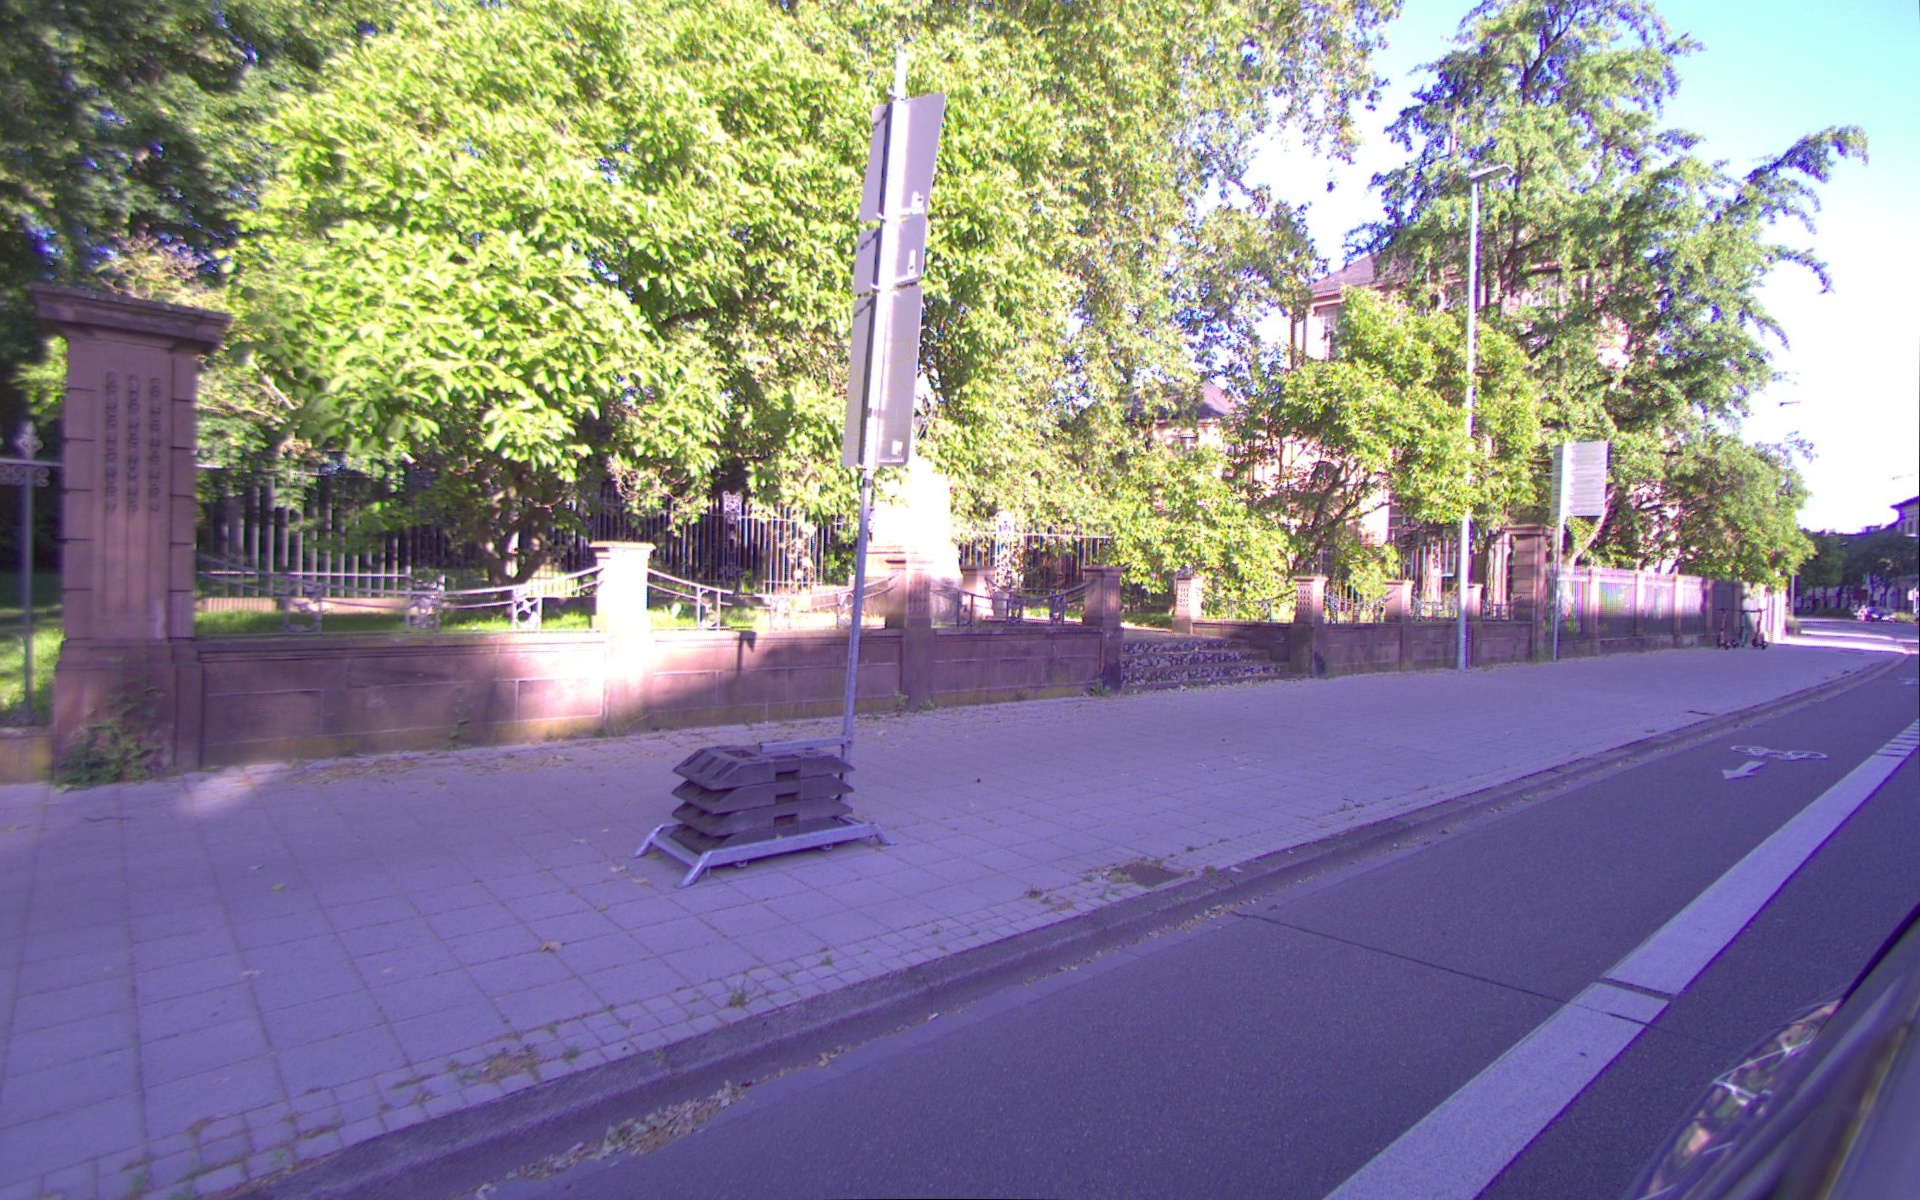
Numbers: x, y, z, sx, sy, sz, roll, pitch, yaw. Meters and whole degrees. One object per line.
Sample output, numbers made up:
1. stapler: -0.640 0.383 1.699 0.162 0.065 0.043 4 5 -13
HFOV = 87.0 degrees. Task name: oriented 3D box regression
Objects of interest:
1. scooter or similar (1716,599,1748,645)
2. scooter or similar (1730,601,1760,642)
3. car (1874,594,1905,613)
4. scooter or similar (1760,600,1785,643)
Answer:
1. scooter or similar: 22.264 0.612 29.208 0.572 1.269 1.470 2 2 33
2. scooter or similar: 23.612 0.629 30.433 0.574 1.199 1.465 3 2 41
3. car: 92.633 0.333 100.831 3.930 1.905 1.866 0 1 -41
4. scooter or similar: 24.712 0.640 30.782 0.514 1.255 1.502 2 2 37
